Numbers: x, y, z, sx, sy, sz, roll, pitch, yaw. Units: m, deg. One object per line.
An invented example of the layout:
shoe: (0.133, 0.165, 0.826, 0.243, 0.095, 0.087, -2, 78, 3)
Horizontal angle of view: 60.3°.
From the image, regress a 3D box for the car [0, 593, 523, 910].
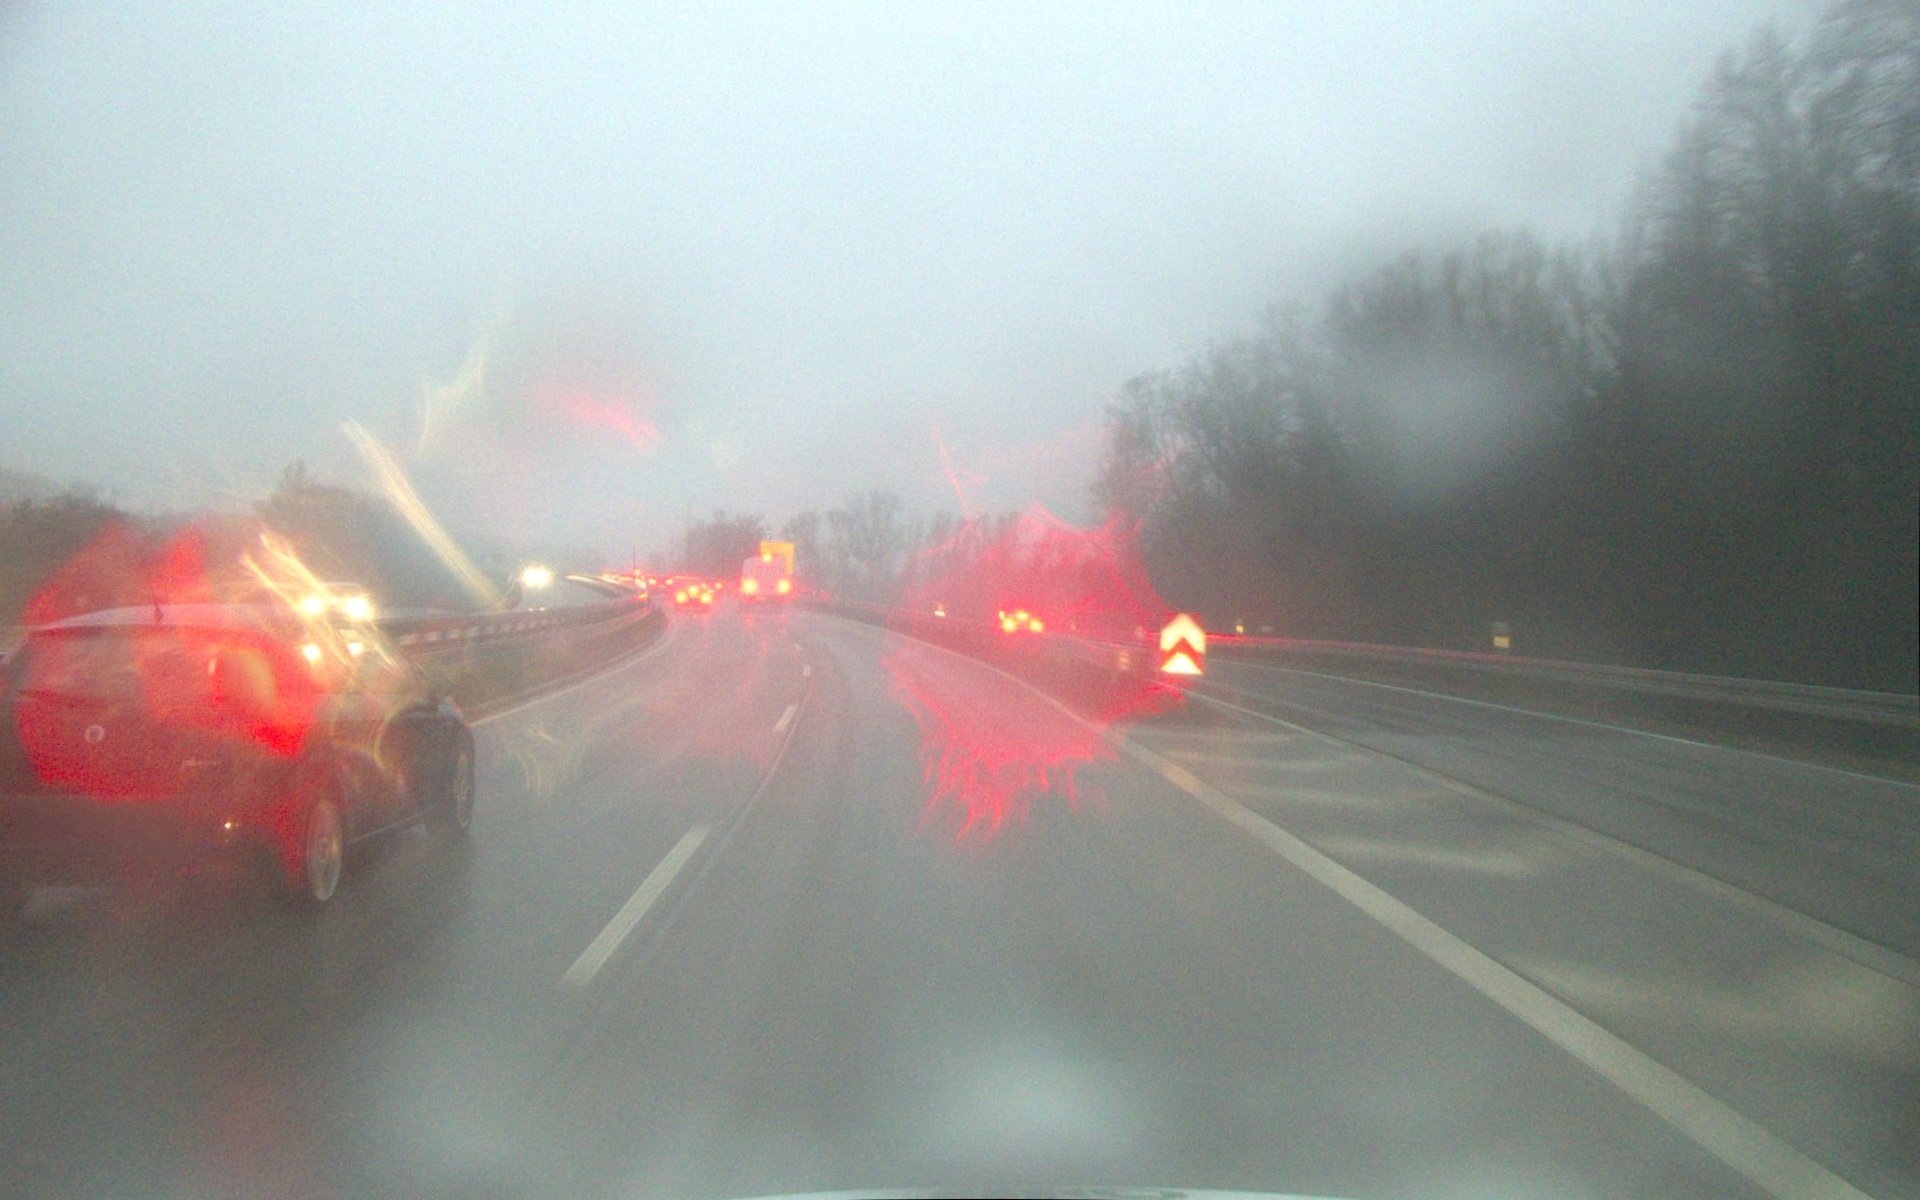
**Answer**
car: (-3.767, 0.691, 9.494, 1.593, 1.416, 3.998, 1, 0, -3)

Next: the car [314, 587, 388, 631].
car: (-20.895, 0.287, 56.893, 1.641, 1.445, 4.072, 0, 0, -10)

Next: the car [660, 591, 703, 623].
car: (-14.616, 0.375, 86.736, 1.804, 1.564, 3.983, 2, -1, -15)
